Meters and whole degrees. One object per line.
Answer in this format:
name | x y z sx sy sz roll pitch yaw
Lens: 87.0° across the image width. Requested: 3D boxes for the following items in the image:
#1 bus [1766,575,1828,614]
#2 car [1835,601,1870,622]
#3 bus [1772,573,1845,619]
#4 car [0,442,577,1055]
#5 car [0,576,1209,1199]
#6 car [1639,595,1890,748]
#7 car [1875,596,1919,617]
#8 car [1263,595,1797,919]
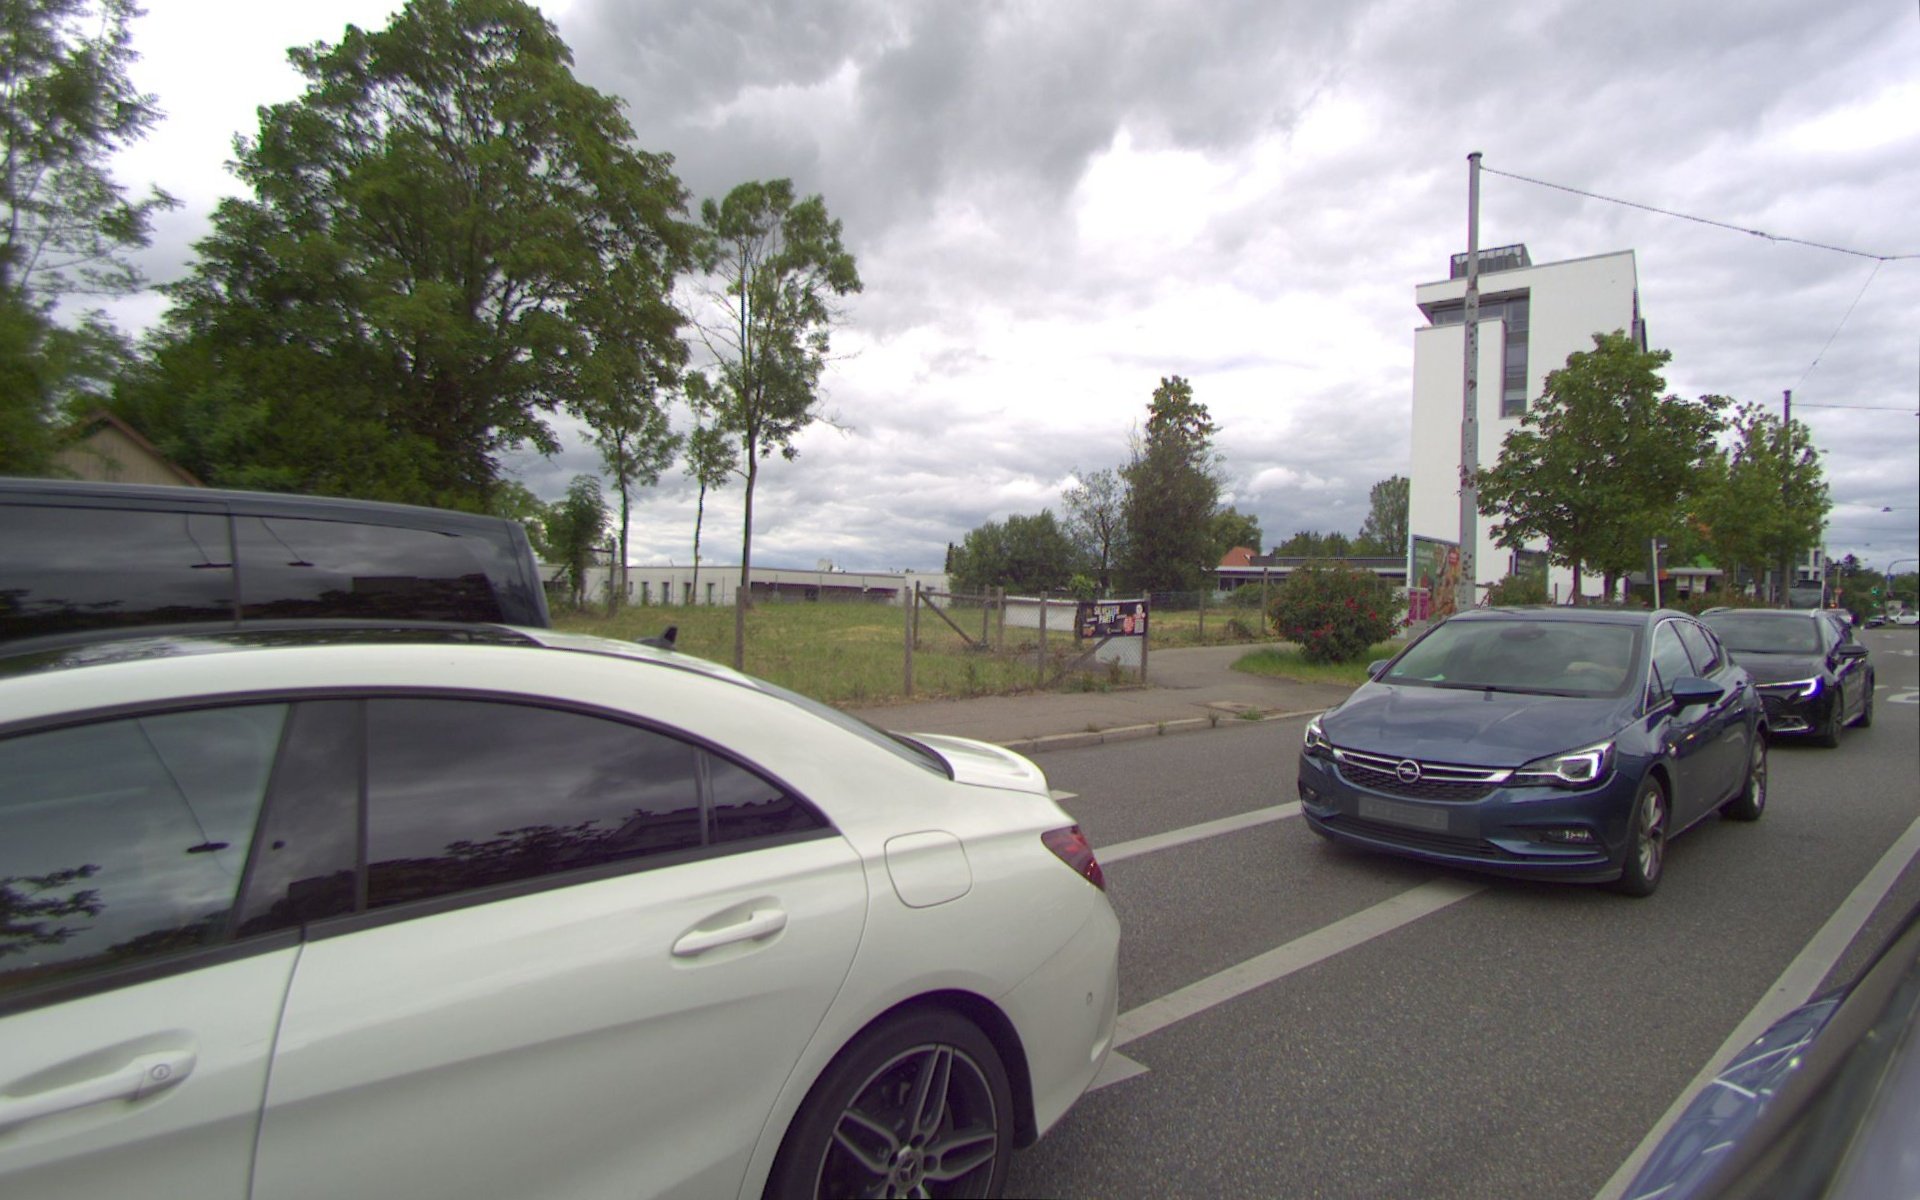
bus | 61.425 -0.446 74.478 2.952 2.664 12.751 0 1 37
car | 71.856 0.885 81.540 1.842 1.637 3.732 -1 -1 37
bus | 53.958 -0.312 64.578 2.952 2.664 11.986 0 1 37
car | -3.974 0.458 3.457 4.627 1.863 1.952 0 -1 -41
car | -1.531 0.694 1.816 4.300 1.451 1.652 0 1 -41
car | 9.372 0.686 11.688 3.854 1.475 1.663 0 0 -42
car | 87.202 0.559 93.080 4.068 1.910 1.848 -1 -1 9
car | 3.816 0.689 6.484 3.931 1.428 1.825 0 0 -42
